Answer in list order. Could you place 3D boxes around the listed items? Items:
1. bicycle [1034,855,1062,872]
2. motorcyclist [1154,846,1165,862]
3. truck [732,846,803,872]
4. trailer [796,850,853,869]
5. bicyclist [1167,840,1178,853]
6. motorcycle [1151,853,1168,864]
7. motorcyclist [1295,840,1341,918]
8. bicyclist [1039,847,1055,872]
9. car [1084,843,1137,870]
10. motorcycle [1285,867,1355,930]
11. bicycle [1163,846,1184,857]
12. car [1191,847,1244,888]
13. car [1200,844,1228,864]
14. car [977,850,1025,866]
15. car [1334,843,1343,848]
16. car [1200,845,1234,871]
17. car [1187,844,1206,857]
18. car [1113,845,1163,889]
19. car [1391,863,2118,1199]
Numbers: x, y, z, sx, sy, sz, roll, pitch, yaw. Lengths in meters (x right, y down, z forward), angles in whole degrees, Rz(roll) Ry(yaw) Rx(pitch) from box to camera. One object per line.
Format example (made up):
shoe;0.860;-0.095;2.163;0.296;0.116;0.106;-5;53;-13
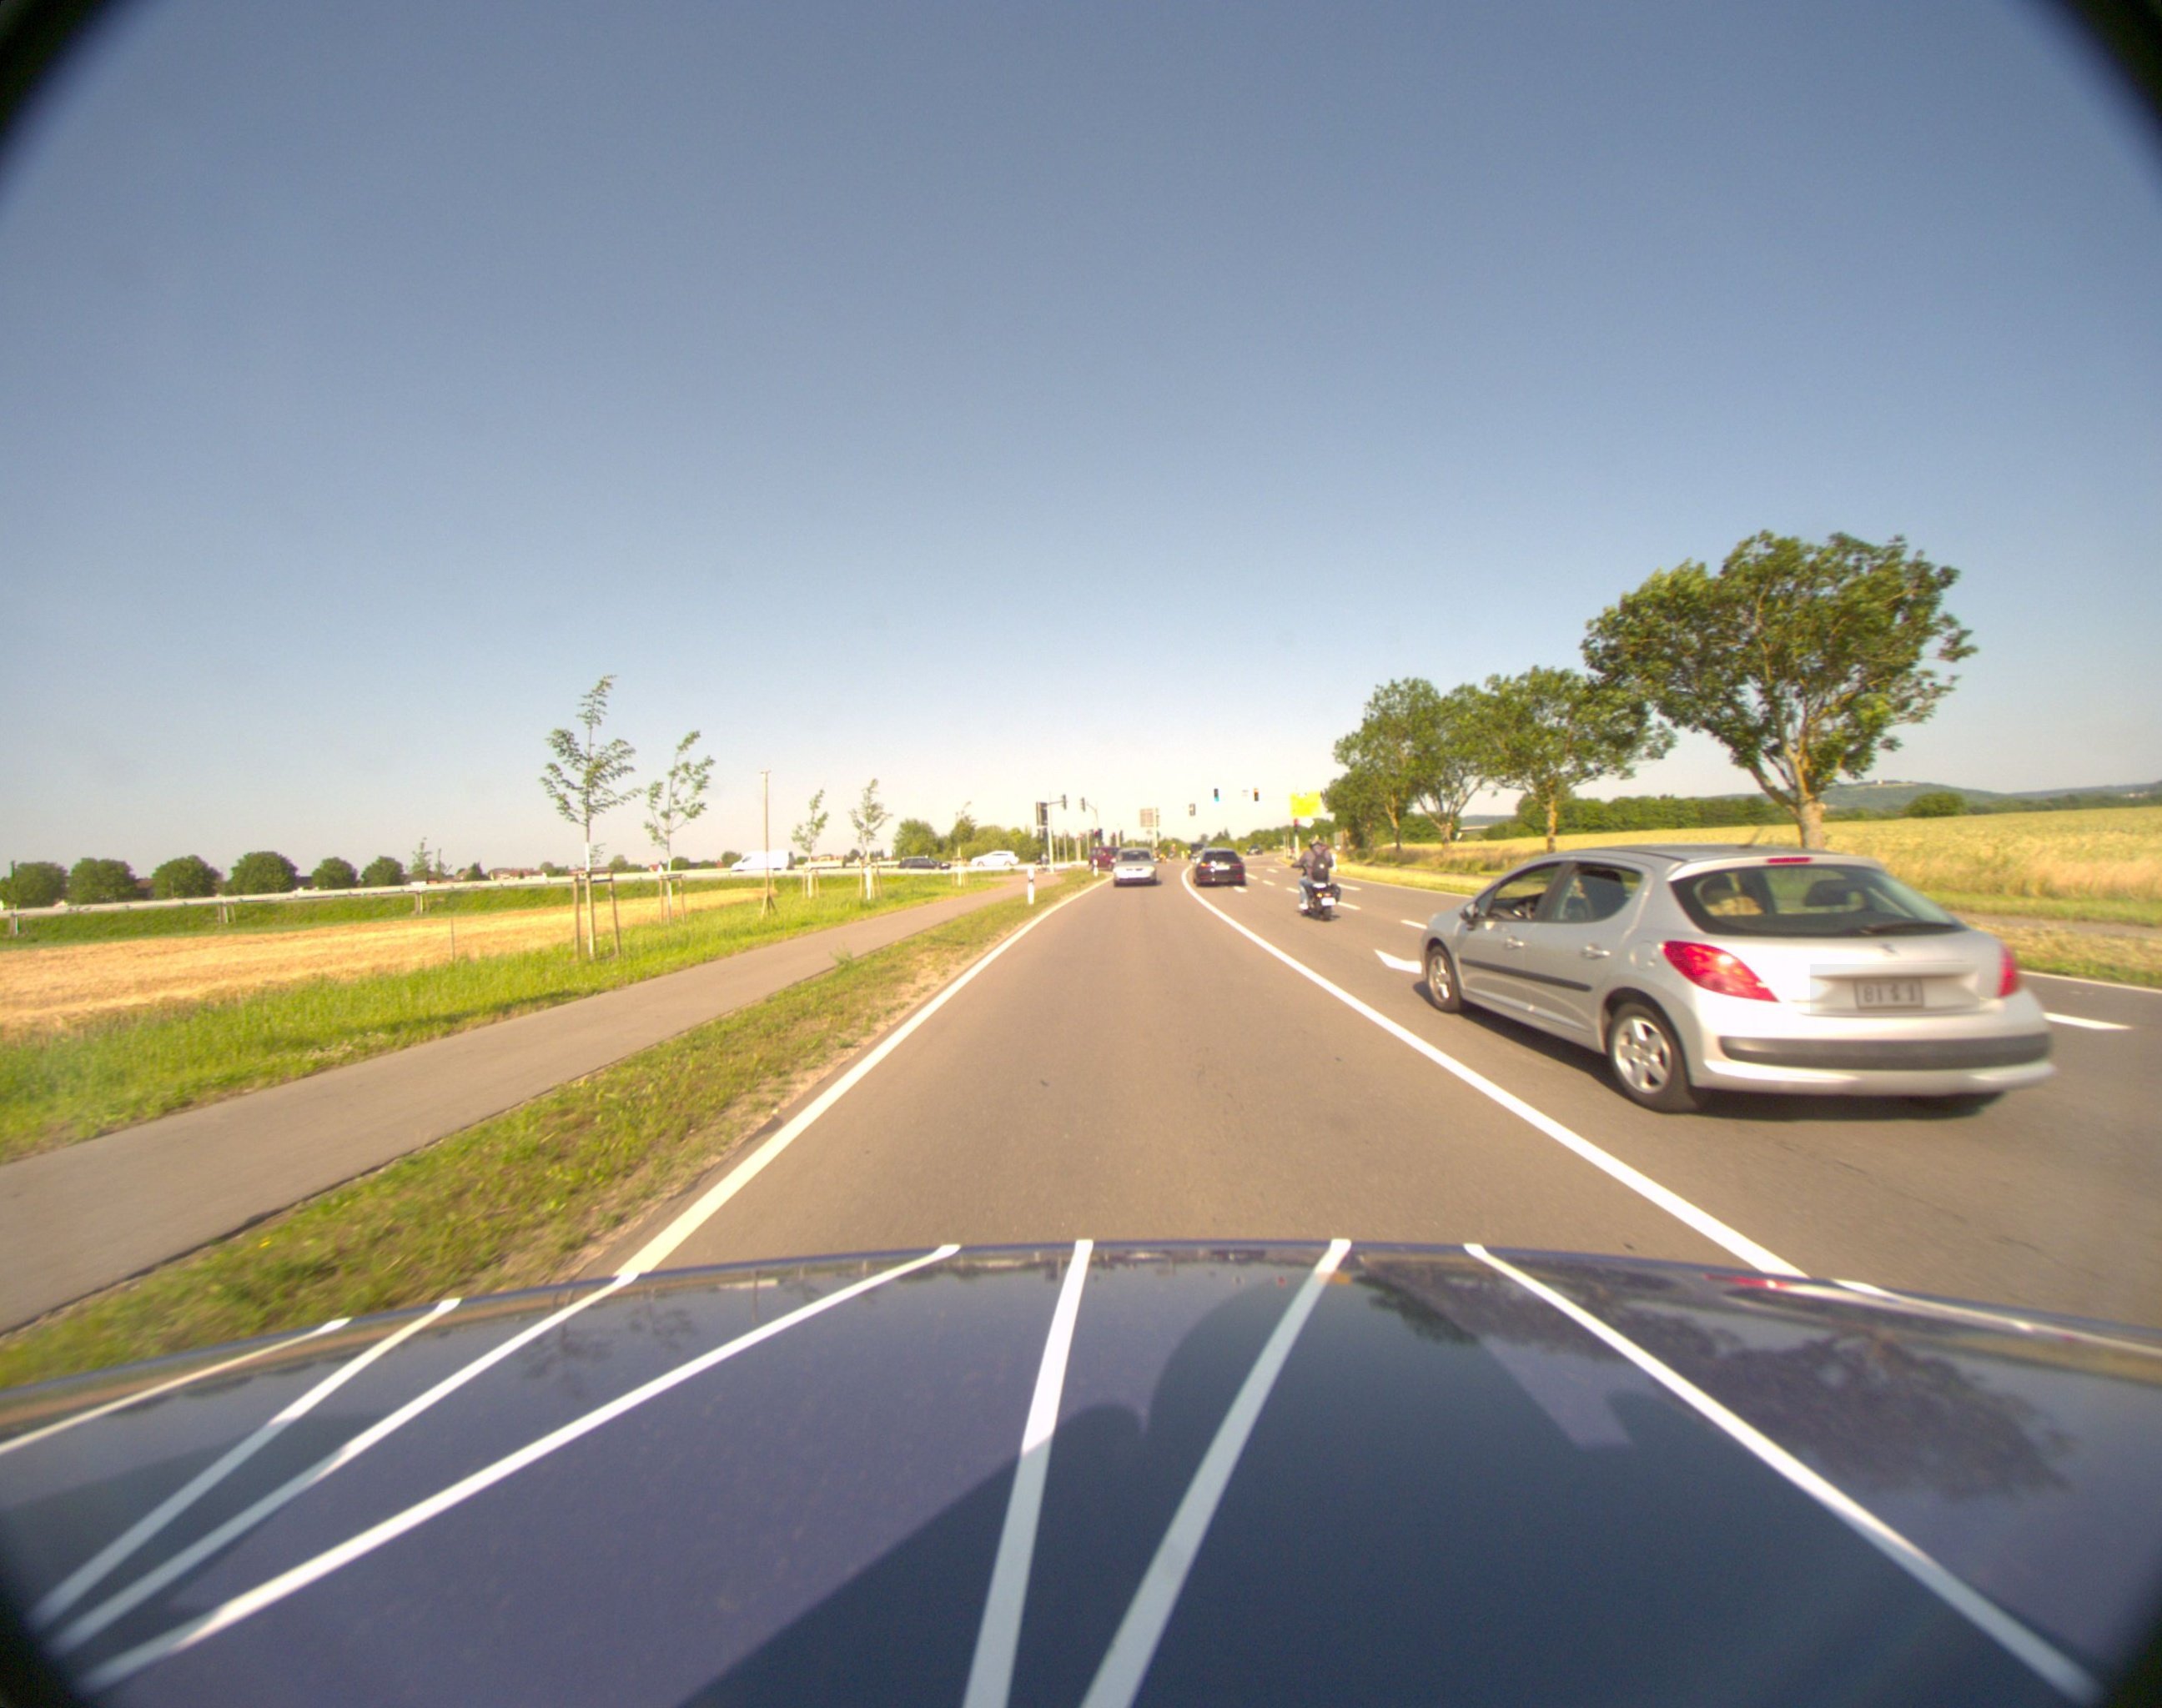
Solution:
bicycle;-2.514;0.707;57.564;1.947;1.145;0.679;-7;4;-34
motorcyclist;7.339;-0.021;70.987;0.681;1.506;1.180;-2;1;-9
truck;-31.579;0.495;76.685;6.195;2.391;2.070;-2;2;-3
trailer;-25.953;0.587;76.984;5.009;1.728;1.980;-2;1;-2
bicyclist;10.016;-0.812;83.430;1.072;1.344;0.859;-1;2;14
motorcycle;7.329;0.406;71.076;0.899;1.037;2.426;-2;0;-9
motorcyclist;4.697;0.476;15.096;0.679;1.486;0.847;-2;1;5
bicyclist;-2.563;0.403;57.503;0.919;1.756;0.618;-7;5;-34
car;2.106;0.168;55.523;1.696;1.826;4.689;-3;1;-26
motorcycle;4.681;0.841;15.025;0.873;1.067;1.969;-2;1;5
bicycle;10.134;-0.319;83.436;2.147;1.143;1.074;-1;2;13
car;5.431;0.473;30.278;1.893;1.428;4.799;-2;1;10
car;10.549;-0.013;59.926;1.893;1.458;4.279;-1;1;14
car;-8.257;0.377;78.200;4.705;1.483;1.765;-2;1;0
car;63.369;-2.137;187.020;1.630;1.369;4.429;0;1;23
car;8.195;0.186;45.950;1.893;1.452;4.308;-1;1;9
car;13.945;-0.416;91.304;1.859;1.533;4.004;-2;0;14
car;2.489;0.511;32.405;1.754;1.685;4.217;-2;0;9
car;3.857;0.829;5.435;1.690;1.395;3.999;-1;1;1
